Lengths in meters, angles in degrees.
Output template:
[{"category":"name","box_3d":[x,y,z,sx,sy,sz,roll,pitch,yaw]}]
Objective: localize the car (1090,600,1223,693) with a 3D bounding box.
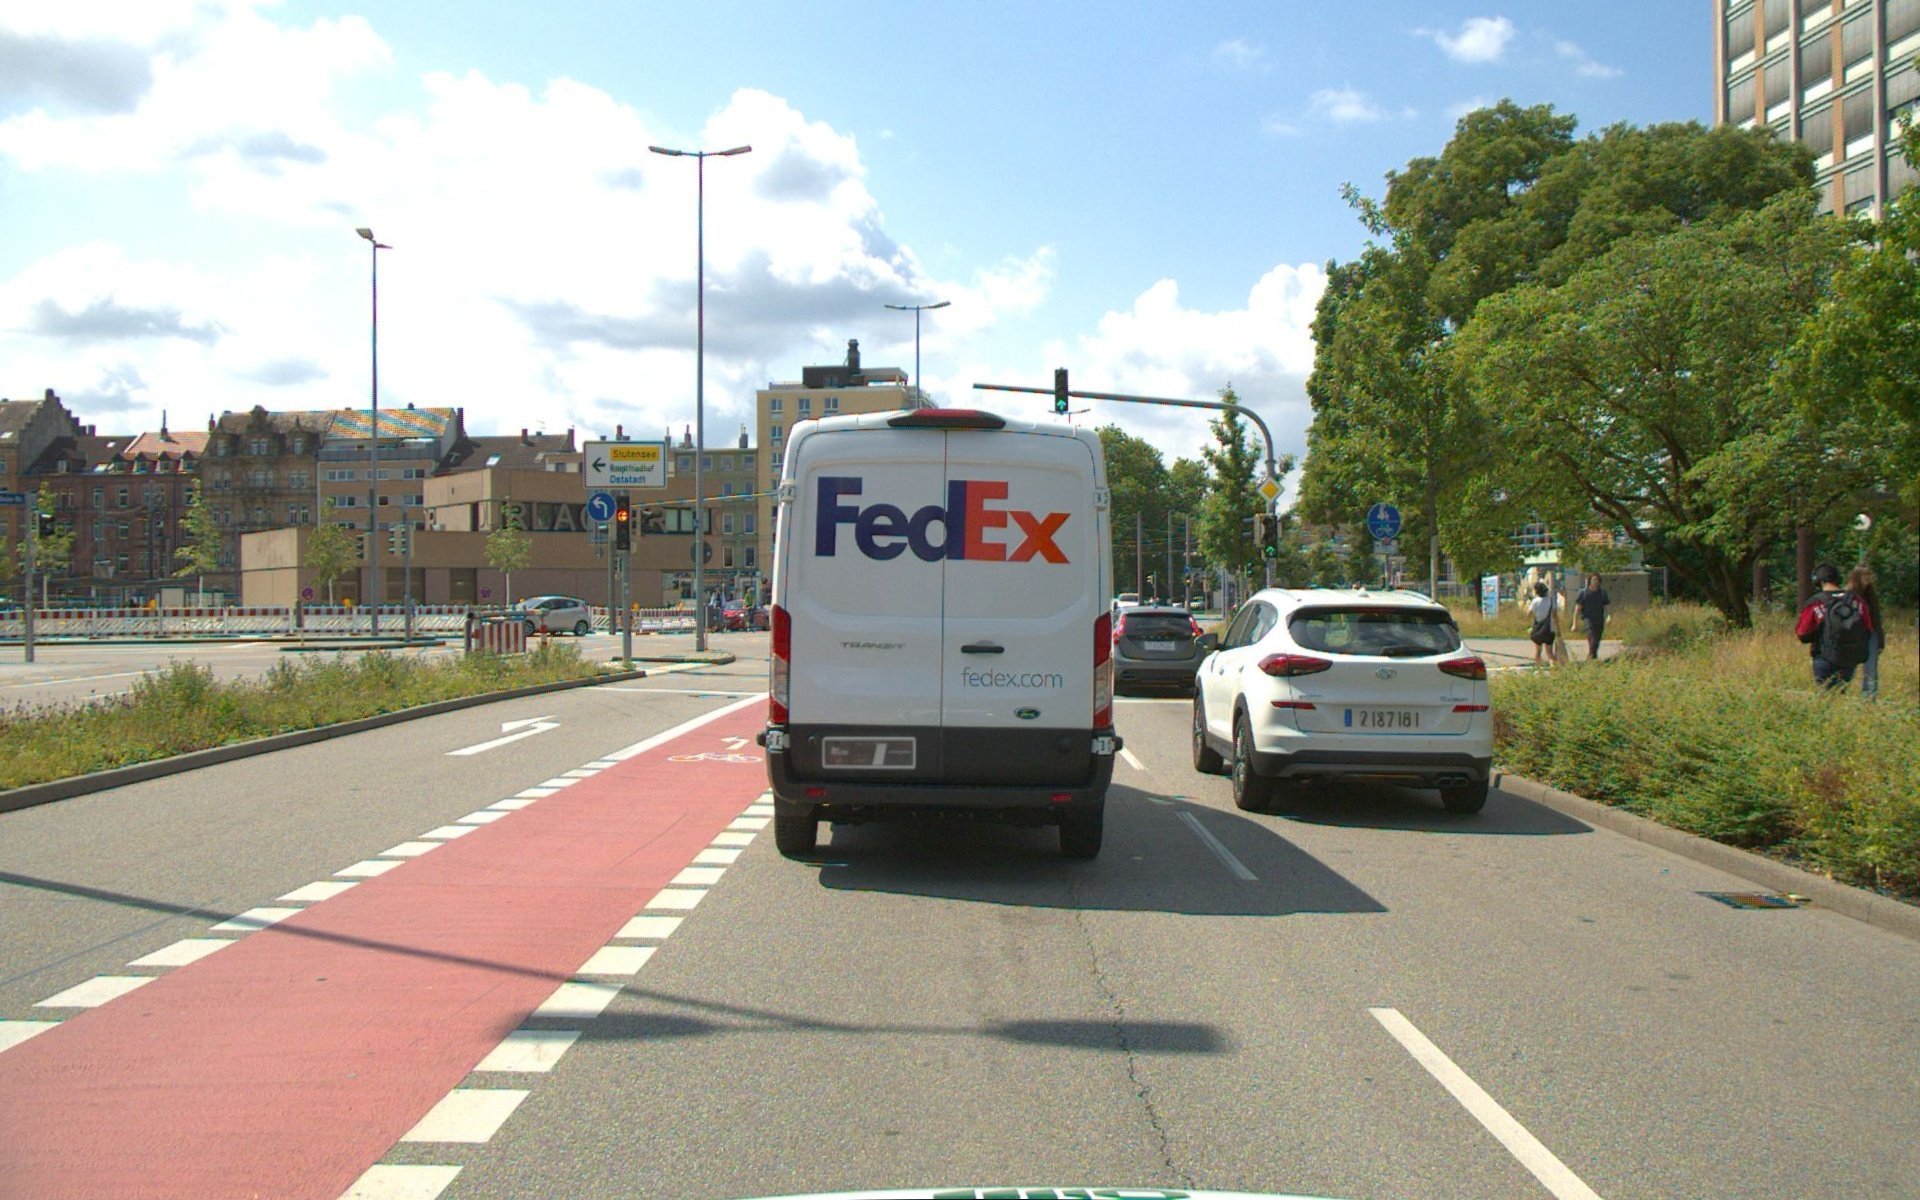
[{"category":"car","box_3d":[3.279,0.744,28.256,1.875,1.445,3.919,0,0,1]}]

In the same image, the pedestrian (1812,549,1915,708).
[{"category":"pedestrian","box_3d":[10.488,0.324,19.228,0.653,1.780,0.878,-2,0,-1]}]

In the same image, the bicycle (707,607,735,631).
[{"category":"bicycle","box_3d":[-9.790,0.773,67.777,0.760,0.905,2.109,-1,0,2]}]

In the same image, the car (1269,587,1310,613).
[{"category":"car","box_3d":[21.825,0.014,109.558,1.843,1.670,3.955,0,0,24]}]

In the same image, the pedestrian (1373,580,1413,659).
[{"category":"pedestrian","box_3d":[9.949,0.445,38.030,0.653,1.777,0.608,-2,0,-7]}]

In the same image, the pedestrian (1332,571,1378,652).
[{"category":"pedestrian","box_3d":[9.039,0.251,37.880,0.735,1.808,0.880,-2,0,-6]}]

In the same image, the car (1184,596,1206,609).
[{"category":"car","box_3d":[30.377,0.345,213.778,1.952,1.601,4.178,1,-1,21]}]

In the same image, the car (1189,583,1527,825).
[{"category":"car","box_3d":[3.066,0.716,13.649,1.842,1.670,4.233,0,0,1]}]

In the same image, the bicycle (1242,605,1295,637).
[{"category":"bicycle","box_3d":[10.941,0.746,58.750,1.771,1.068,0.592,-3,-2,6]}]

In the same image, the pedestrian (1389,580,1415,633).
[{"category":"pedestrian","box_3d":[15.055,0.216,56.356,0.734,1.783,0.610,-2,0,6]}]

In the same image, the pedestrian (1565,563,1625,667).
[{"category":"pedestrian","box_3d":[11.100,0.256,28.944,0.734,1.780,0.667,-2,0,-1]}]

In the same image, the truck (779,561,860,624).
[{"category":"truck","box_3d":[-7.212,-0.335,86.077,1.951,3.121,7.335,1,-1,14]}]

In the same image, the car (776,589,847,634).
[{"category":"car","box_3d":[-5.678,0.427,63.590,1.841,1.652,4.158,1,0,7]}]

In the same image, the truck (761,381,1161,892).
[{"category":"truck","box_3d":[-0.034,0.203,11.730,2.093,2.686,5.916,1,0,-1]}]

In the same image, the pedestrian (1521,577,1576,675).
[{"category":"pedestrian","box_3d":[10.079,0.438,28.330,0.653,1.624,0.647,-2,0,-1]}]

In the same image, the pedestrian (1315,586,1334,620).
[{"category":"pedestrian","box_3d":[17.678,0.140,80.276,0.740,1.617,0.761,1,-1,1]}]

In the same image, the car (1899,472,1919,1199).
[{"category":"car","box_3d":[2.933,0.638,1.350,1.758,1.753,4.447,2,0,-1]}]

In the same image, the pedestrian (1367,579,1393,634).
[{"category":"pedestrian","box_3d":[14.265,0.204,56.150,0.734,1.834,0.610,-2,0,6]}]

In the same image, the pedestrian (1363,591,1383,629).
[{"category":"pedestrian","box_3d":[20.970,0.499,84.048,0.740,1.853,0.780,-4,-1,1]}]

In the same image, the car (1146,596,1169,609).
[{"category":"car","box_3d":[25.782,0.294,215.933,1.952,1.601,4.178,1,-1,21]}]

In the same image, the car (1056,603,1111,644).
[{"category":"car","box_3d":[4.936,0.892,65.704,1.841,1.532,4.159,1,0,9]}]

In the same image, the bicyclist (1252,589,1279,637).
[{"category":"bicyclist","box_3d":[10.850,0.467,58.766,0.810,1.629,0.580,-3,-2,6]}]

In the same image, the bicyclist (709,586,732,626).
[{"category":"bicyclist","box_3d":[-9.797,0.244,67.773,0.760,1.647,0.843,-1,0,2]}]

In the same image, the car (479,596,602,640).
[{"category":"car","box_3d":[-15.409,0.678,60.920,1.964,1.534,3.994,0,-1,41]}]

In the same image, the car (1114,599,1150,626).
[{"category":"car","box_3d":[13.120,0.974,125.819,1.951,2.049,4.125,1,-1,17]}]

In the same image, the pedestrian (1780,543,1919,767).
[{"category":"pedestrian","box_3d":[7.361,0.439,13.709,0.653,1.780,0.848,-2,0,-1]}]

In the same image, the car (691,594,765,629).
[{"category":"car","box_3d":[-10.506,0.488,75.111,1.951,1.512,3.908,-1,0,15]}]
